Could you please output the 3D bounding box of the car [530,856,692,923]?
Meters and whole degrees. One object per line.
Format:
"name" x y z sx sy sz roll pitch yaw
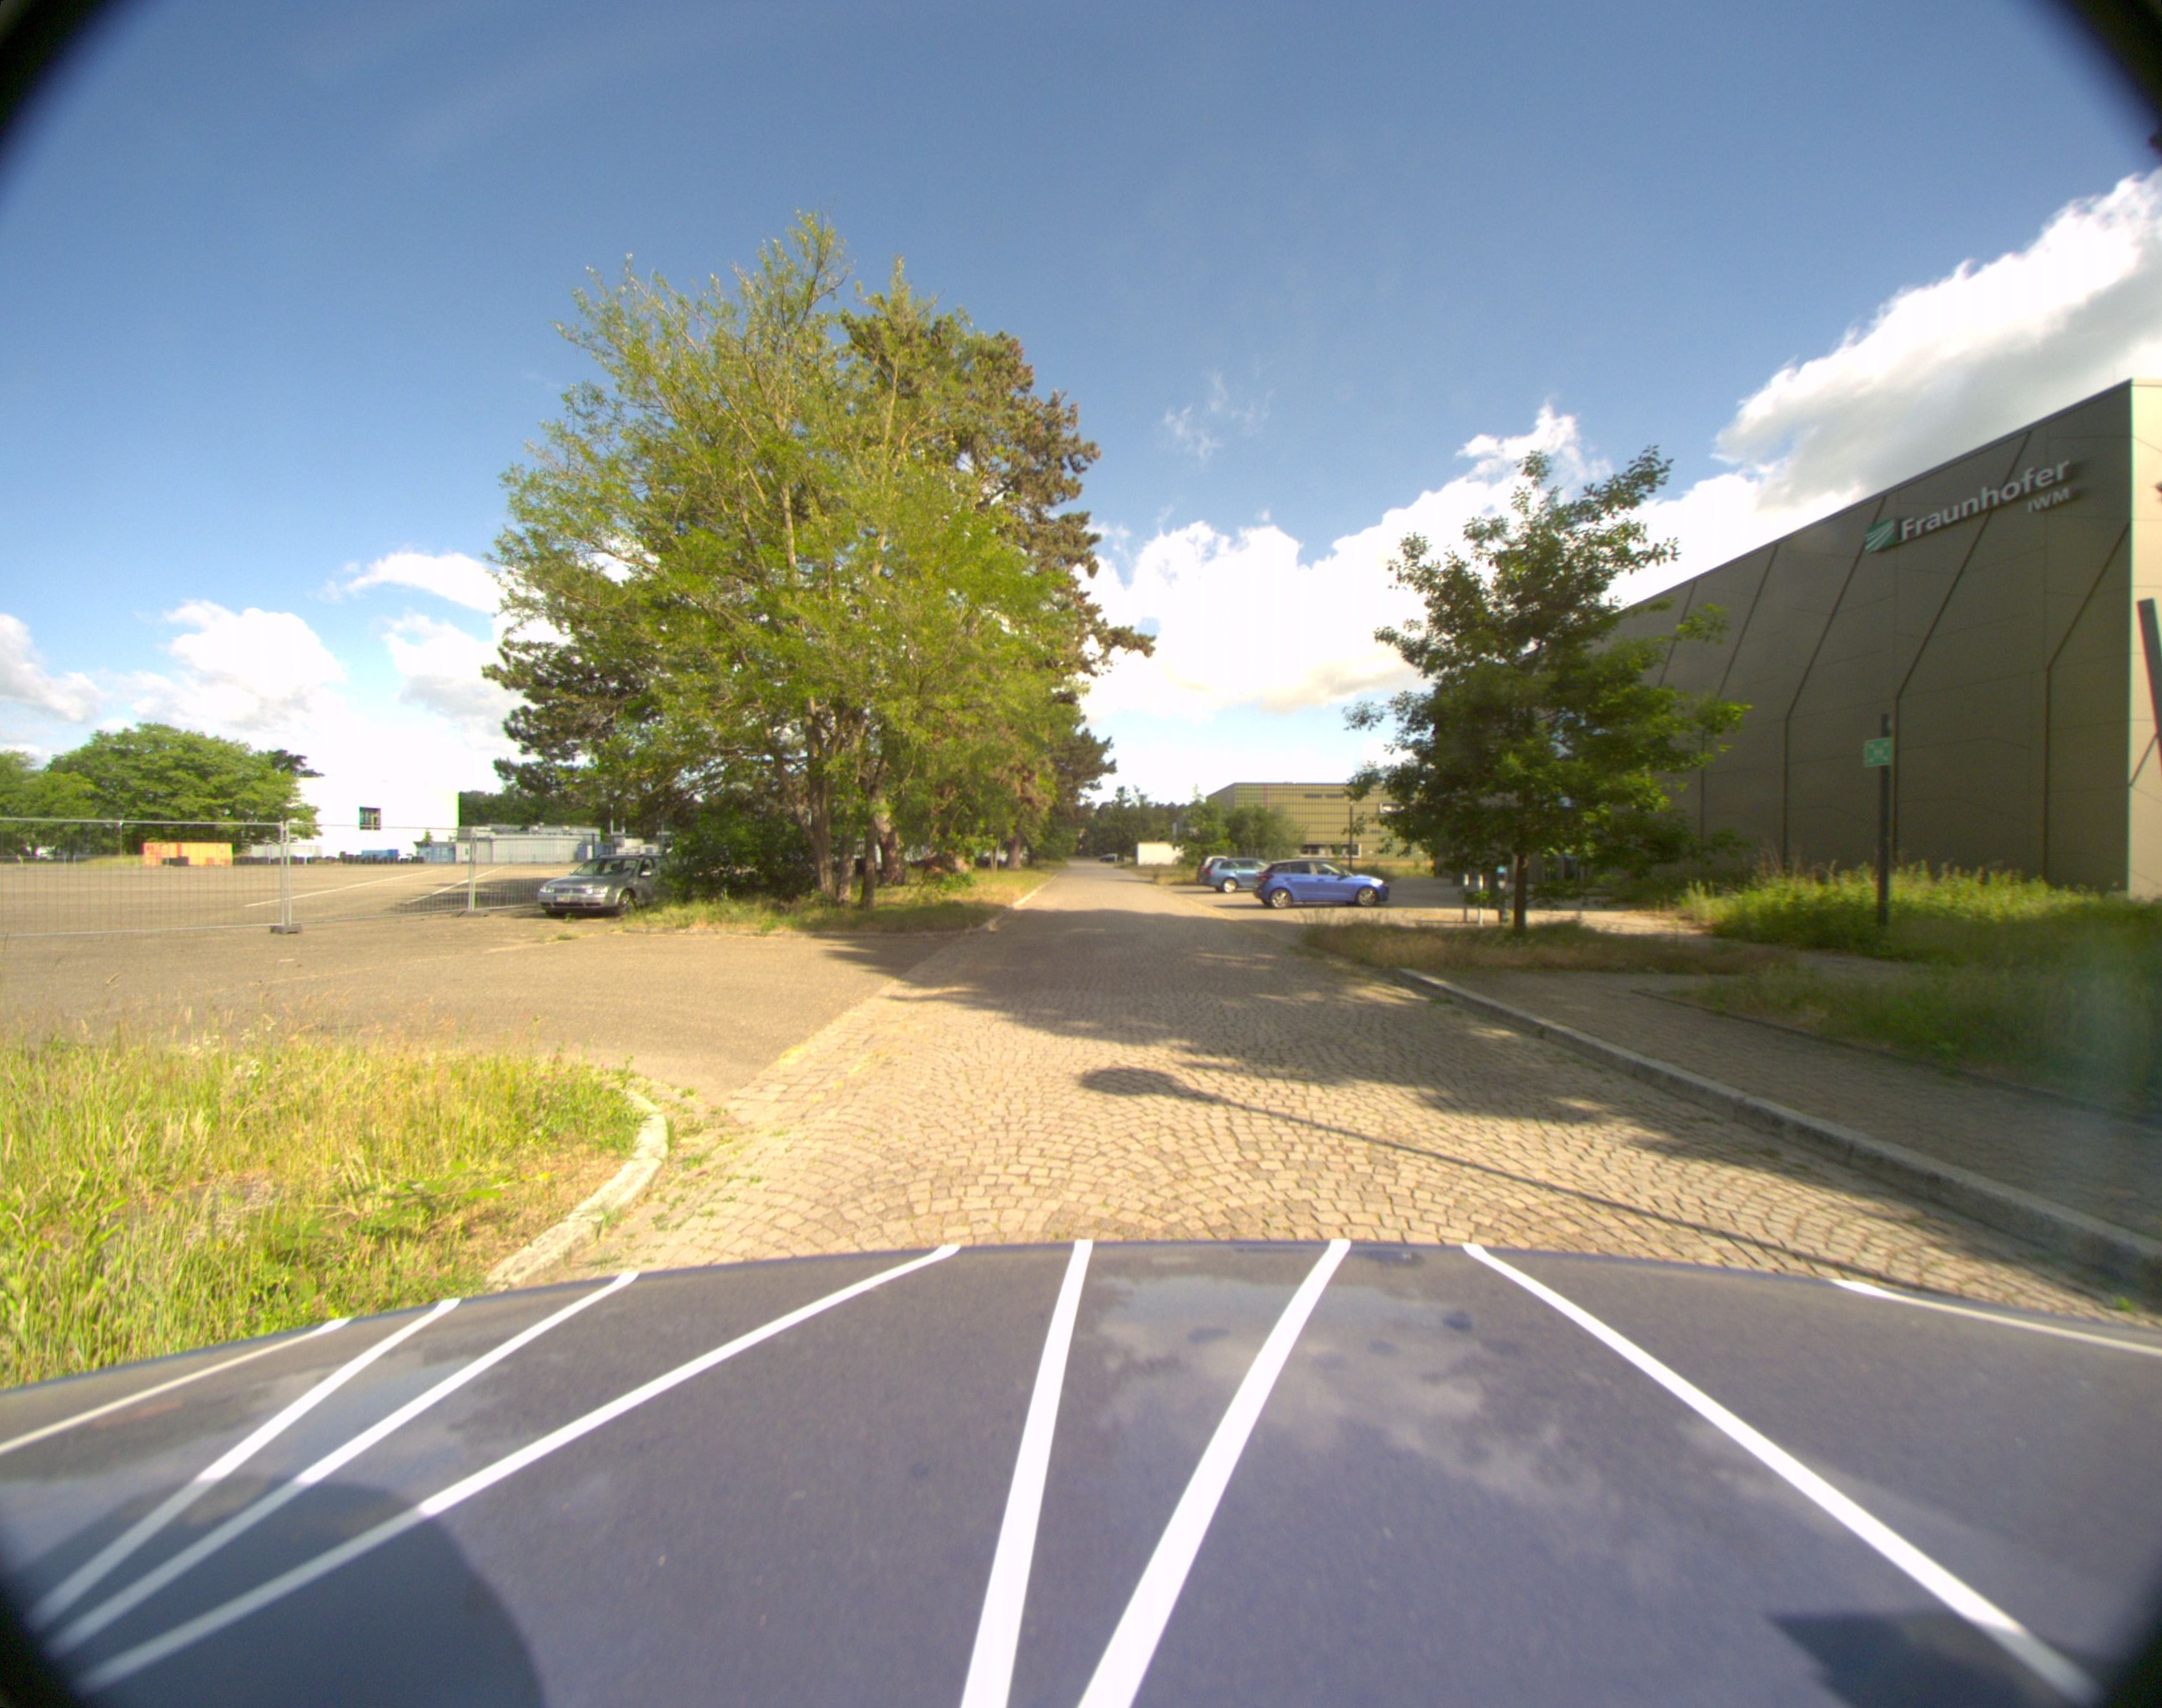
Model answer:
"car" -11.180 0.775 18.424 1.579 1.435 3.985 0 0 -3

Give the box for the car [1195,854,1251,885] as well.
"car" 7.522 0.822 40.343 2.652 1.559 1.481 -1 1 -1

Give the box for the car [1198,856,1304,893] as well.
"car" 7.336 0.868 32.997 4.180 1.465 1.734 -1 0 -2

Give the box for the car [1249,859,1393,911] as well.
"car" 7.336 0.940 23.499 3.918 1.459 1.735 -1 0 3
